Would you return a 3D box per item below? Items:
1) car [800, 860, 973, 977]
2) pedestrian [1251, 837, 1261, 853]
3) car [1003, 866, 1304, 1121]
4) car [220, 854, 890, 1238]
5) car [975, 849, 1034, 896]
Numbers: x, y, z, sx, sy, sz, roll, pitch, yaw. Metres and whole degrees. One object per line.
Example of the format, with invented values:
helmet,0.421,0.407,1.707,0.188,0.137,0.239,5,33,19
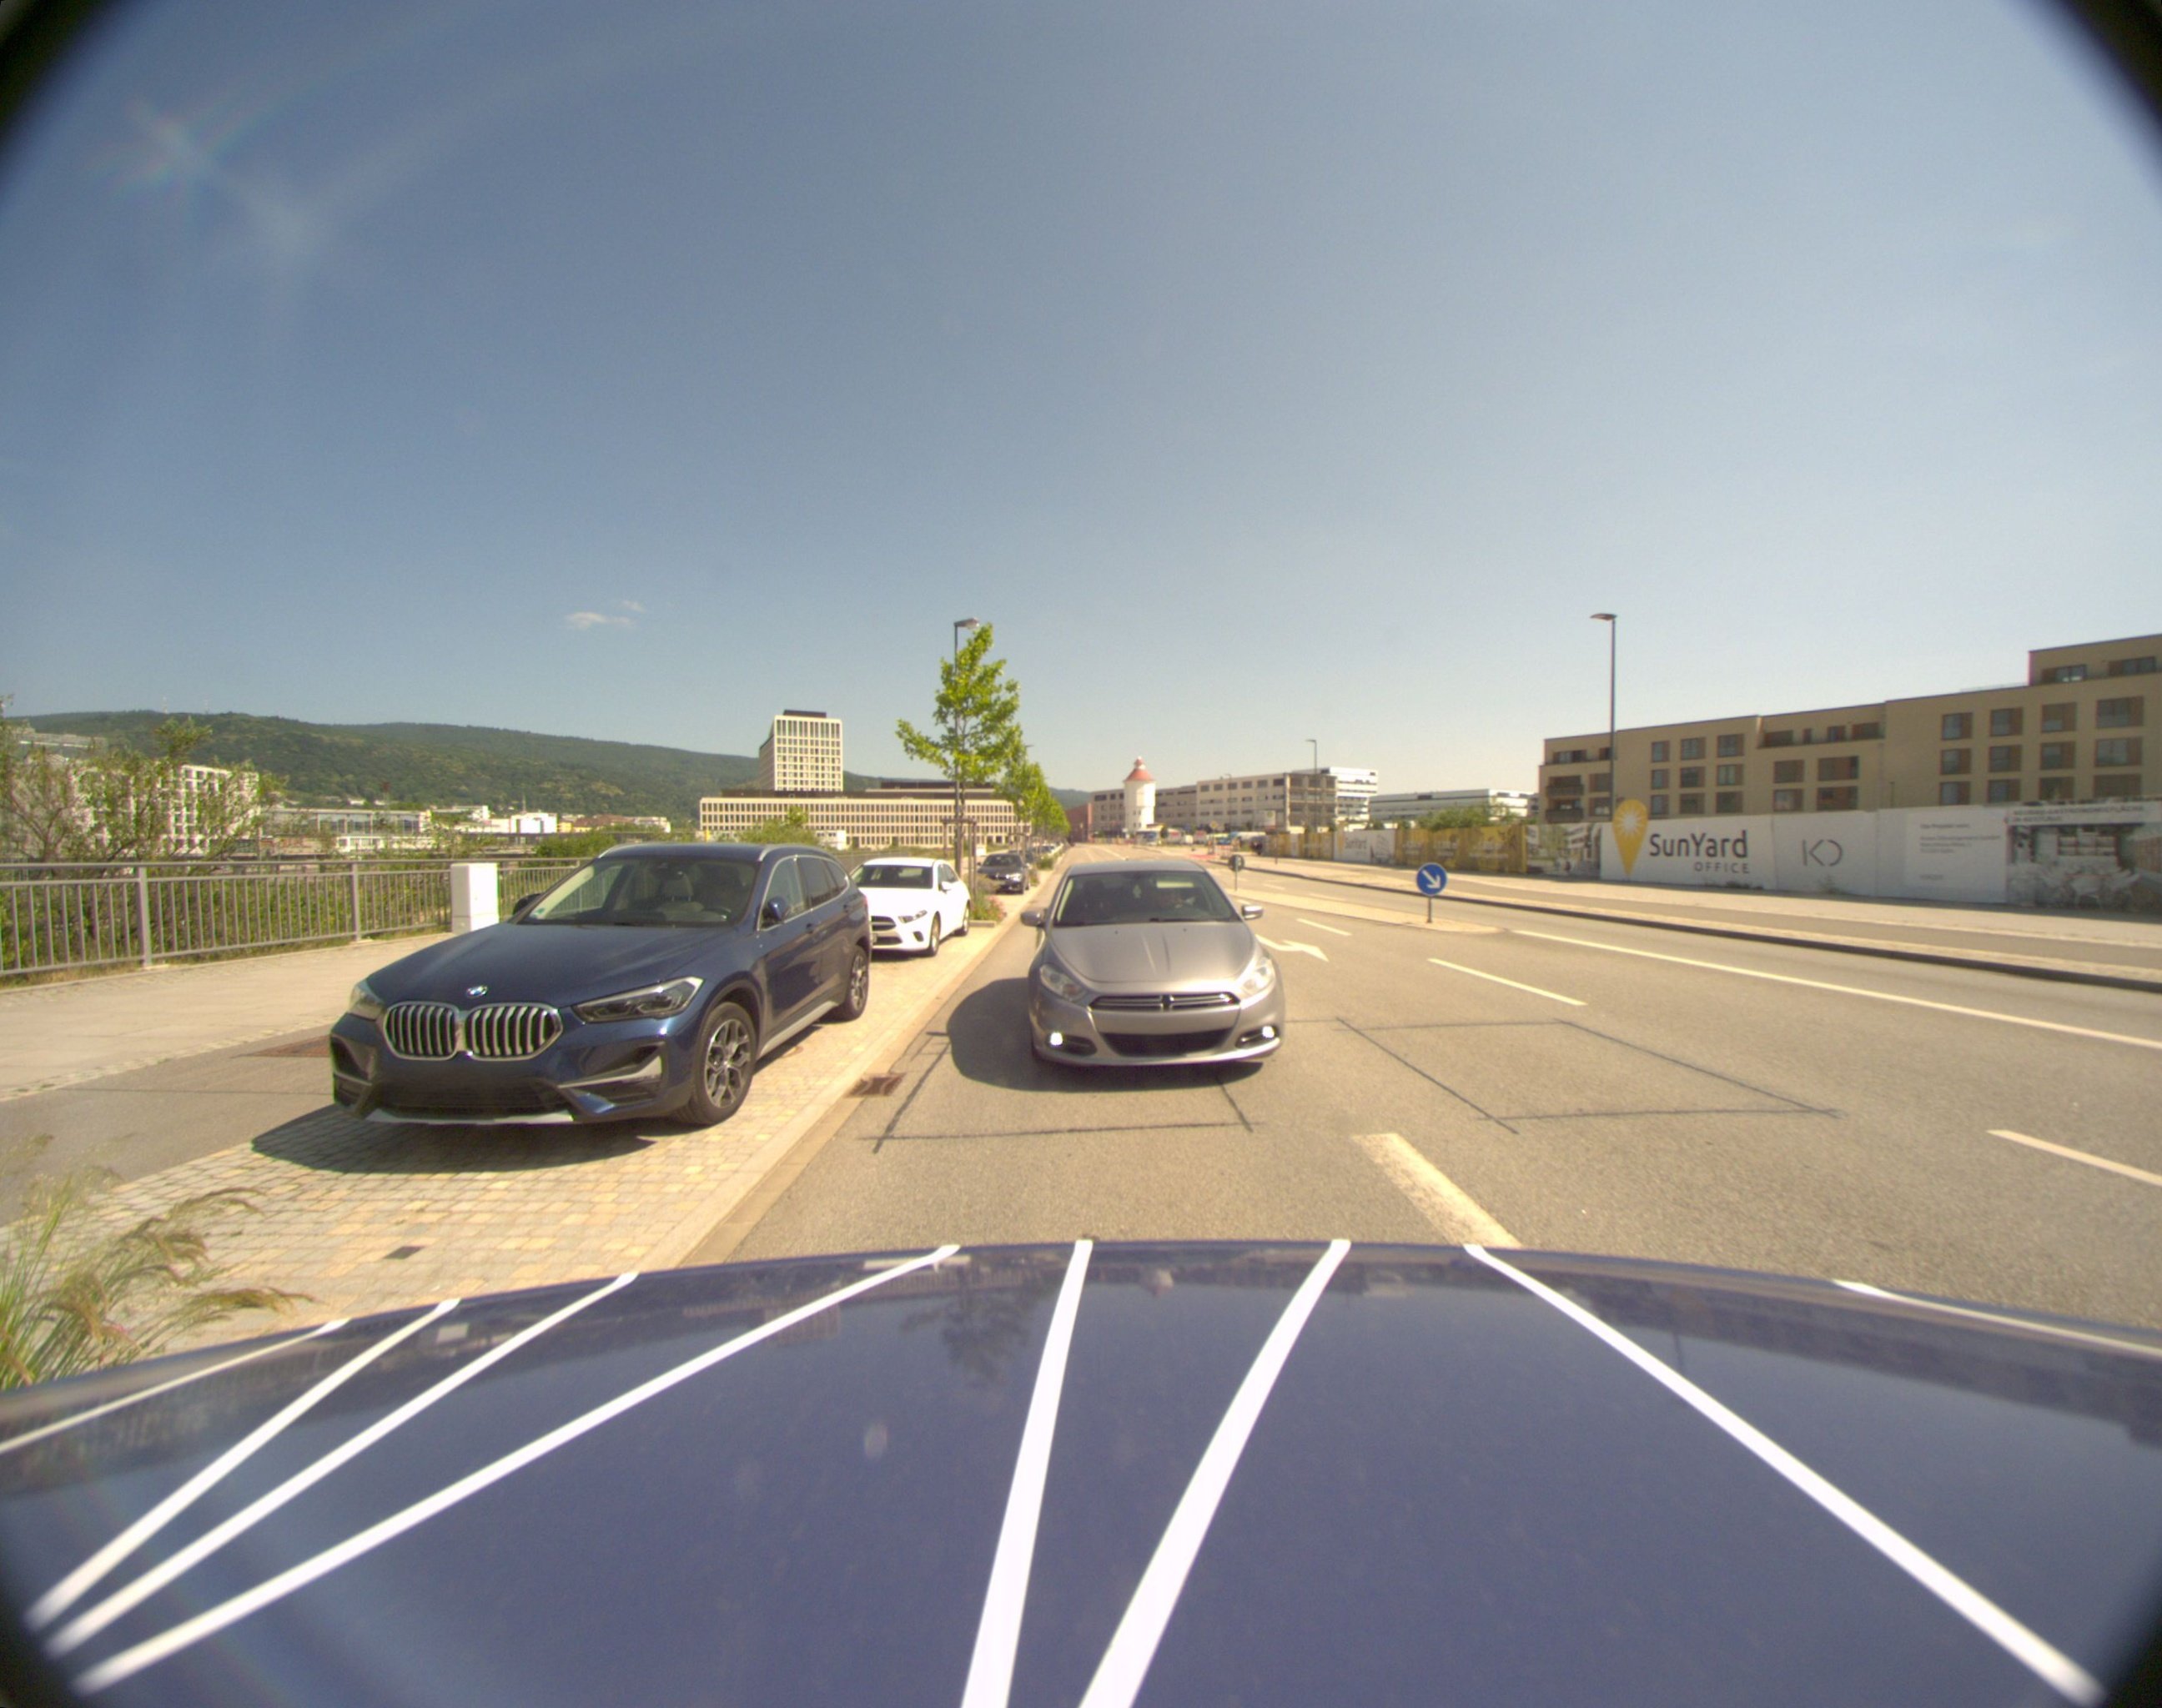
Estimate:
car,-2.908,0.891,12.282,1.664,1.447,3.999,-2,1,1
pedestrian,17.823,-0.934,77.453,0.705,1.577,0.617,-3,1,-36
car,0.470,0.887,6.690,1.784,1.372,4.135,-2,1,1
car,-2.855,0.855,5.481,1.769,1.598,4.238,-2,1,1
car,-2.733,0.630,28.016,1.664,1.529,3.999,-2,1,1
